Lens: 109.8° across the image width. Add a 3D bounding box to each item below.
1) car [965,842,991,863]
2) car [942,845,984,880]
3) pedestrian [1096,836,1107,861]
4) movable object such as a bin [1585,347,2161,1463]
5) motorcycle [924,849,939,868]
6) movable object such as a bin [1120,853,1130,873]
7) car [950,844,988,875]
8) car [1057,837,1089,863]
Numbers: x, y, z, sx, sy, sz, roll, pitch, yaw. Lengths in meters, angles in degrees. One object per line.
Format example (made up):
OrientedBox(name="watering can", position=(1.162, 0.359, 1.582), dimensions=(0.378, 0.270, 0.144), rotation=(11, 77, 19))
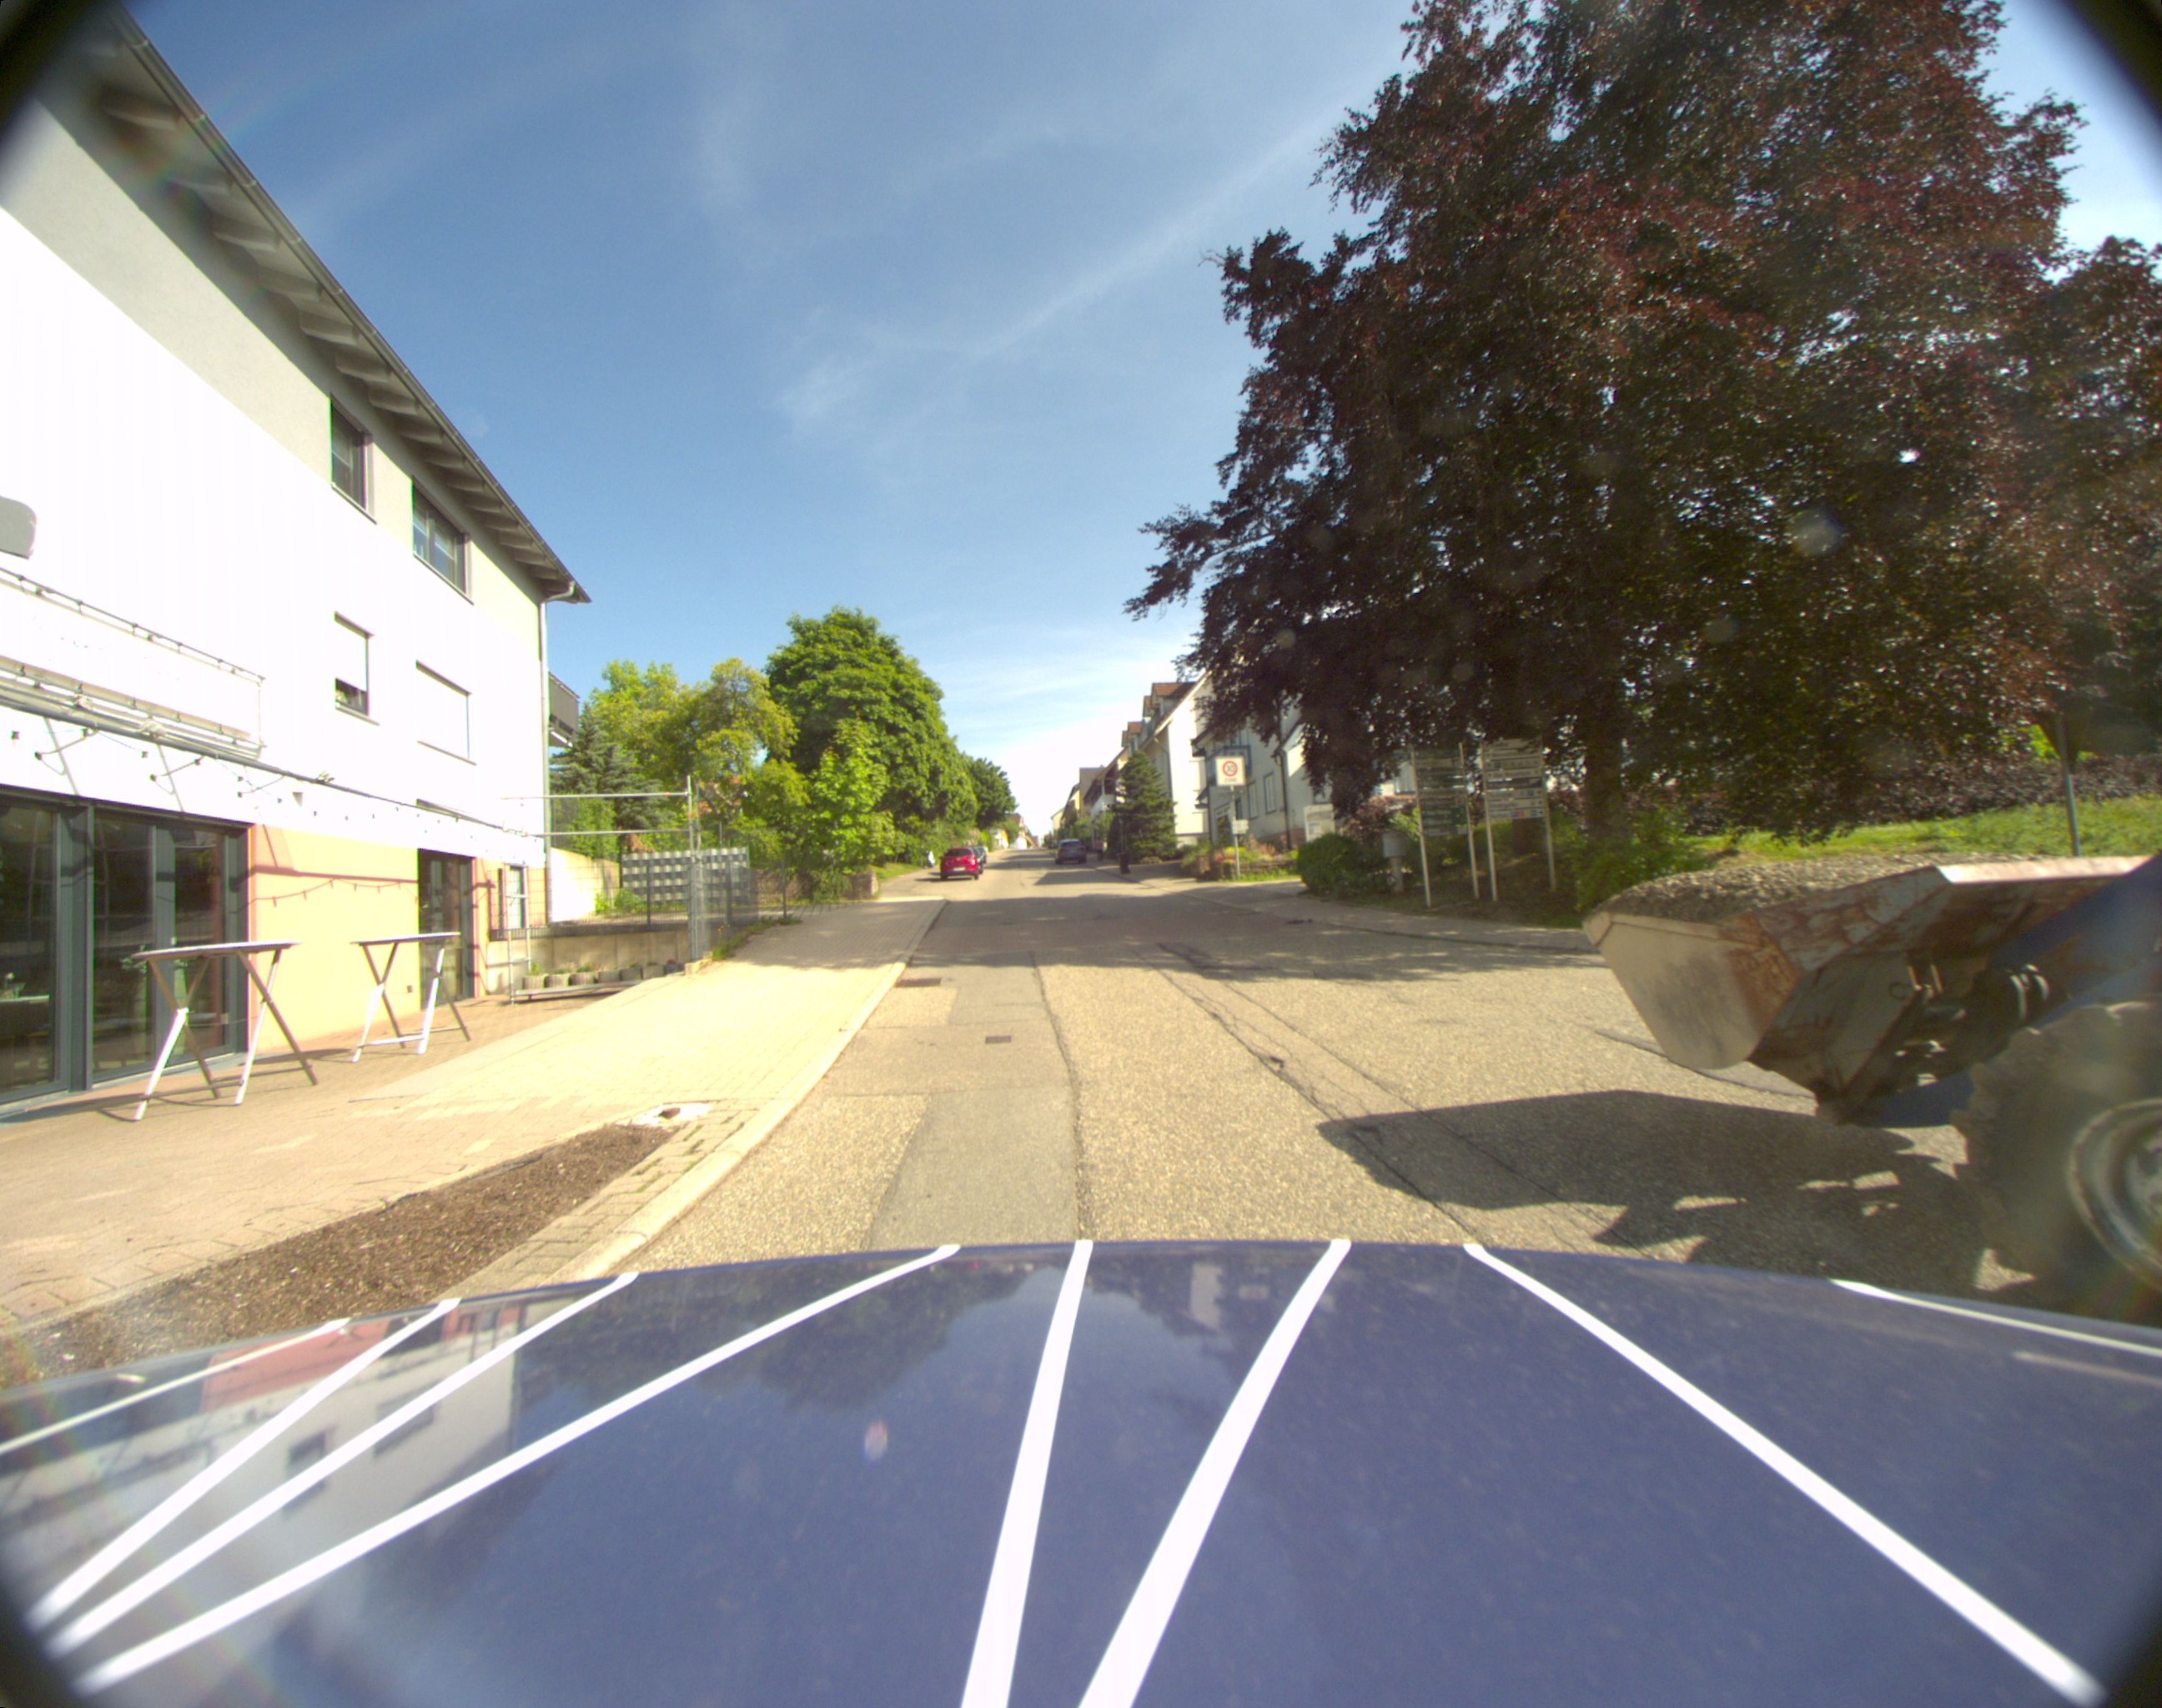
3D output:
OrientedBox(name="car", position=(-7.987, -0.151, 59.198), dimensions=(1.776, 1.462, 3.808), rotation=(-3, 1, -5))
OrientedBox(name="car", position=(-5.429, 0.348, 35.234), dimensions=(1.624, 1.489, 3.808), rotation=(-3, 1, -5))
OrientedBox(name="pedestrian", position=(1.306, -0.337, 48.447), dimensions=(0.668, 1.566, 0.780), rotation=(-2, 2, 1))
OrientedBox(name="movable object such as a bin", position=(3.750, 0.120, 1.233), dimensions=(2.000, 2.753, 5.101), rotation=(-2, 1, -7))
OrientedBox(name="motorcycle", position=(-9.812, 0.270, 49.850), dimensions=(0.785, 1.175, 2.186), rotation=(-2, 1, -7))
OrientedBox(name="movable object such as a bin", position=(1.906, 0.390, 32.969), dimensions=(0.351, 0.859, 0.395), rotation=(-2, 1, -5))
OrientedBox(name="car", position=(-5.974, 0.255, 40.795), dimensions=(1.776, 1.462, 3.808), rotation=(-3, 1, -5))
OrientedBox(name="car", position=(-0.582, -0.293, 51.960), dimensions=(1.808, 1.592, 3.808), rotation=(-3, 1, -5))
